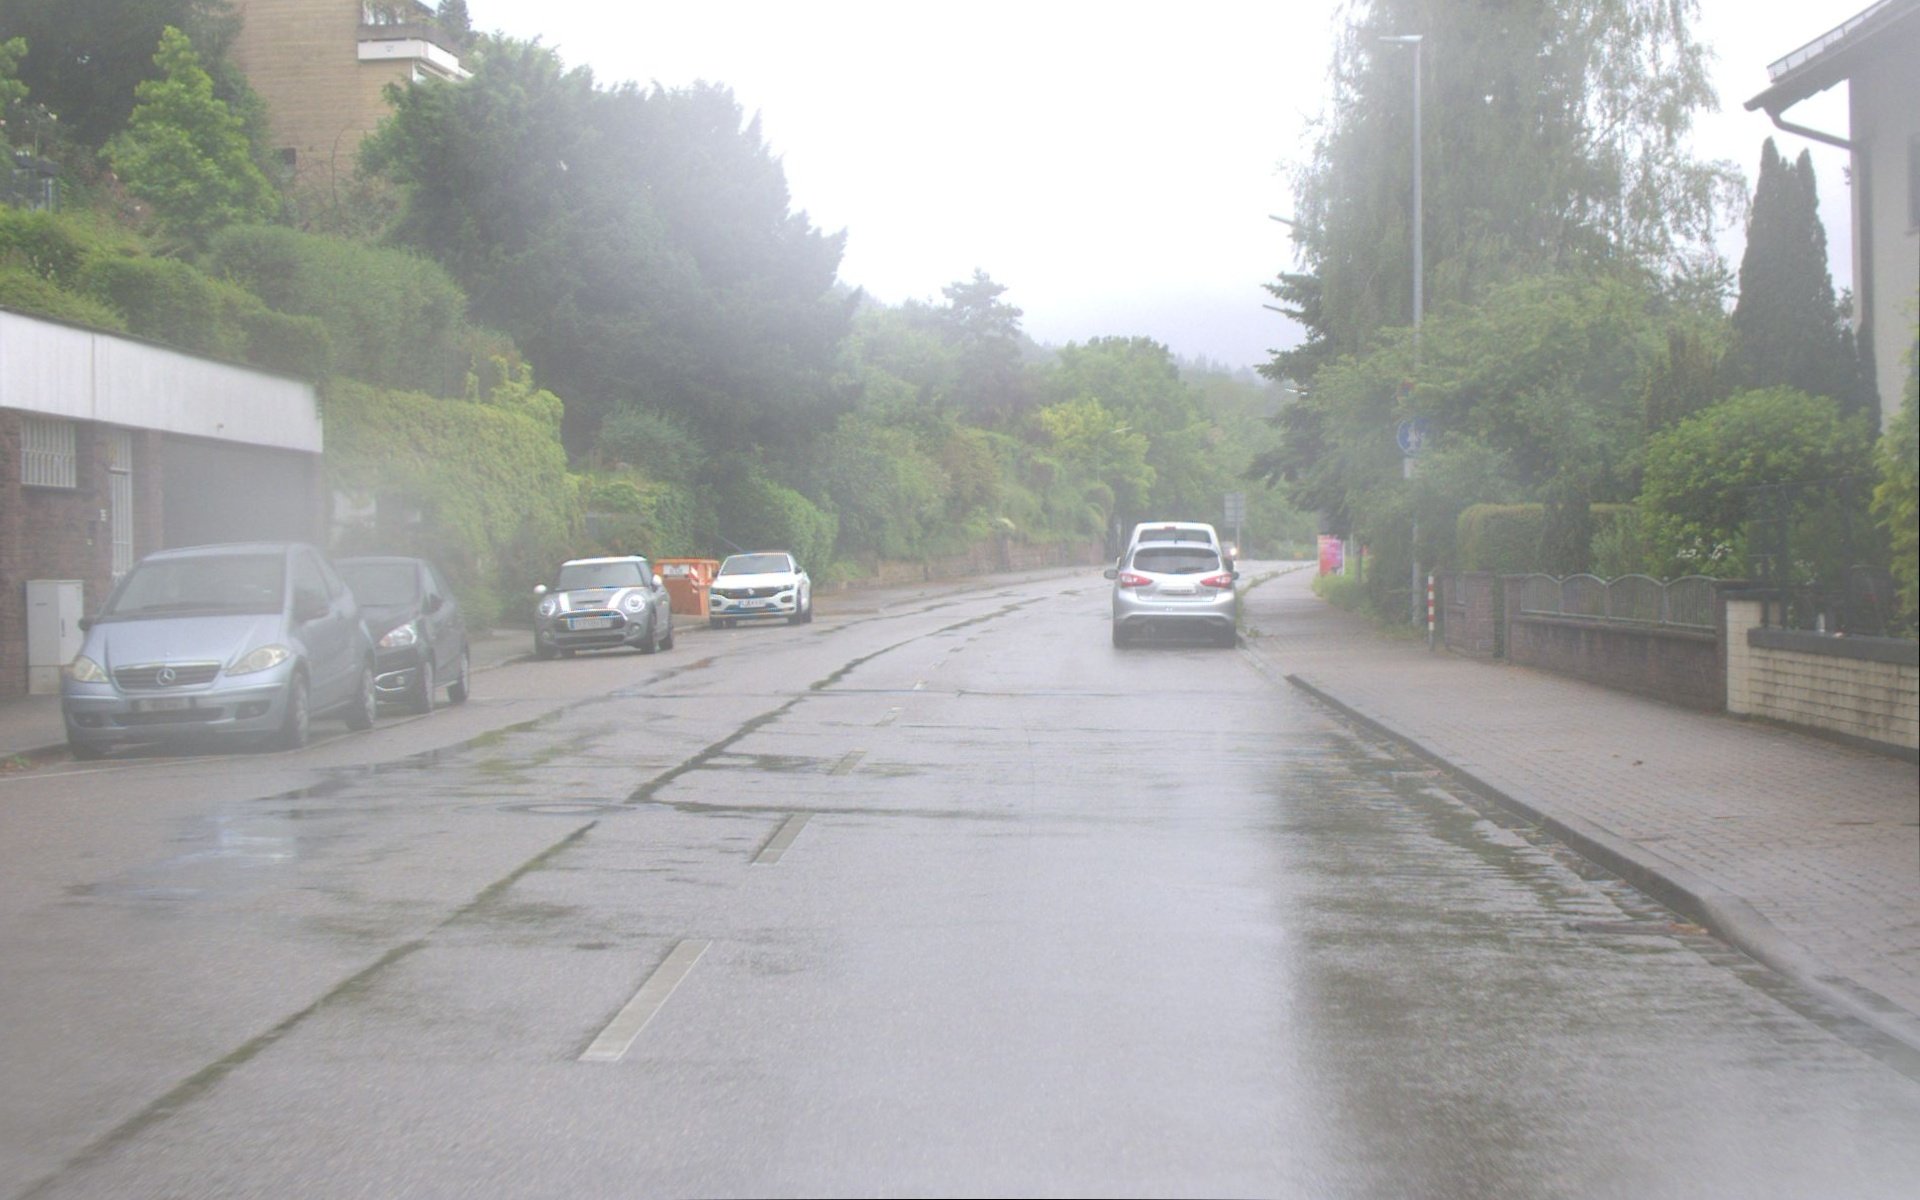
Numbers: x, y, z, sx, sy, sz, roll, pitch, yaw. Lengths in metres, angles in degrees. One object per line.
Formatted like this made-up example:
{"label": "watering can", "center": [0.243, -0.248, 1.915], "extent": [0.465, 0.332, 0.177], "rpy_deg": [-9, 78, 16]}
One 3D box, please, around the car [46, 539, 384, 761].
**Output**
{"label": "car", "center": [-5.805, 0.334, 27.207], "extent": [1.756, 1.534, 3.756], "rpy_deg": [-3, 1, 0]}

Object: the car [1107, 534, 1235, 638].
{"label": "car", "center": [3.117, -0.213, 50.358], "extent": [1.789, 1.455, 4.308], "rpy_deg": [0, 0, 4]}

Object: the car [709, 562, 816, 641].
{"label": "car", "center": [-3.930, 0.024, 69.044], "extent": [1.756, 1.492, 4.220], "rpy_deg": [-1, 0, 2]}

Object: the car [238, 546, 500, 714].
{"label": "car", "center": [-5.550, 0.241, 32.708], "extent": [1.756, 1.404, 3.705], "rpy_deg": [-3, 1, 0]}

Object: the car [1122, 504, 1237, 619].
{"label": "car", "center": [3.600, -0.619, 56.097], "extent": [1.785, 1.784, 4.360], "rpy_deg": [0, 0, 4]}

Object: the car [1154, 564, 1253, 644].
{"label": "car", "center": [4.400, 0.059, 62.134], "extent": [1.709, 1.398, 4.203], "rpy_deg": [0, 0, 4]}

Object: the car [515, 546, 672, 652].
{"label": "car", "center": [-5.277, -0.037, 49.922], "extent": [1.756, 1.397, 3.770], "rpy_deg": [-3, 1, 1]}
